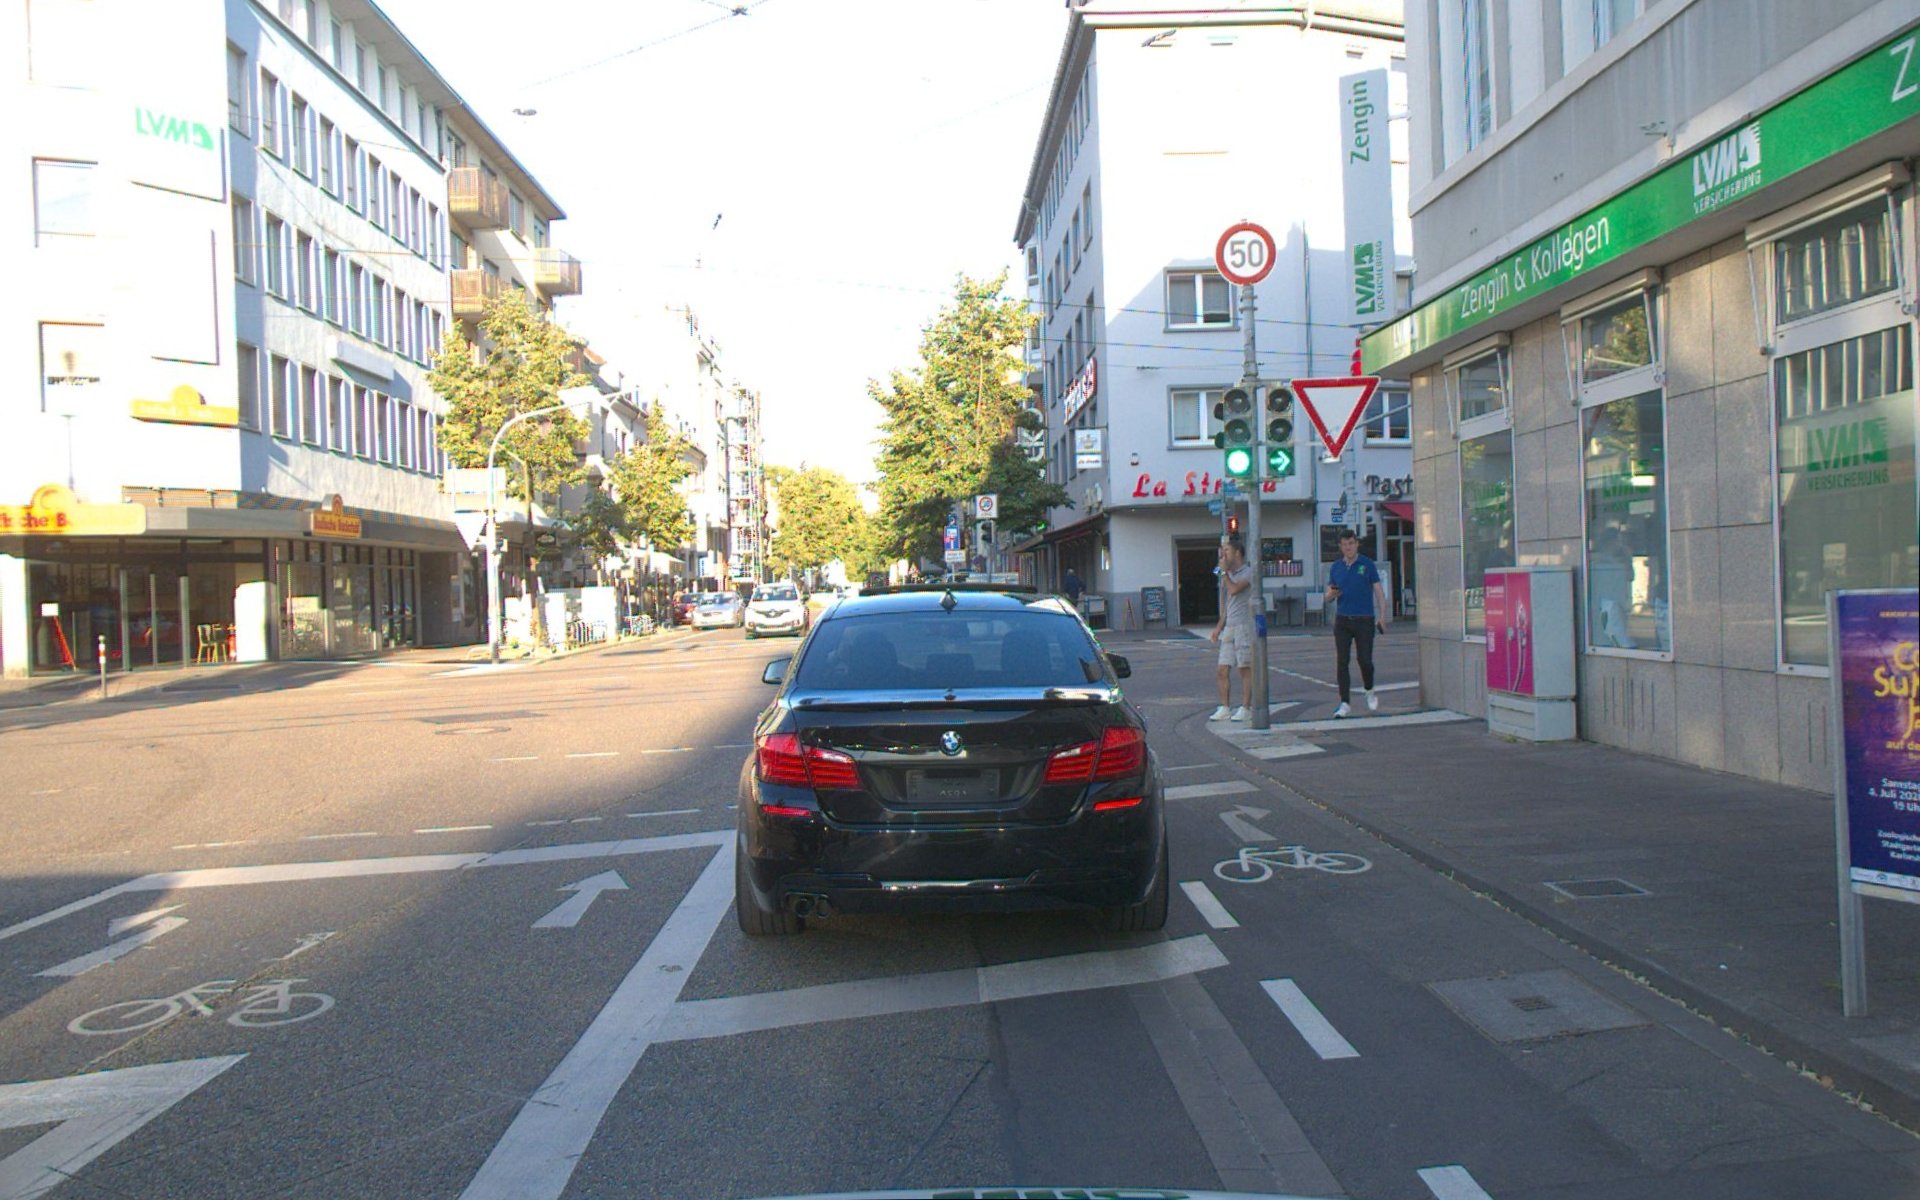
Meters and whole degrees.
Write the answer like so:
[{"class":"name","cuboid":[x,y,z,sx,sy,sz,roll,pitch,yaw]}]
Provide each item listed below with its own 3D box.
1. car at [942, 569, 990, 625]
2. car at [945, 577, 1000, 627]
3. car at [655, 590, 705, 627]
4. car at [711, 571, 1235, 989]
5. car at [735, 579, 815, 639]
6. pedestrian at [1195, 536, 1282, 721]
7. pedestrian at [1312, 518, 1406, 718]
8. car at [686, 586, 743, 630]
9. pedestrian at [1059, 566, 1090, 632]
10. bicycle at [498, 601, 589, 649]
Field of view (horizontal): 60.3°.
[{"class":"car","cuboid":[0.232,-0.139,58.968,1.606,1.906,3.607,1,1,1]},{"class":"car","cuboid":[0.405,0.041,52.302,1.606,1.469,3.607,-2,0,1]},{"class":"car","cuboid":[-12.940,0.404,76.560,1.798,1.583,3.777,-3,0,-4]},{"class":"car","cuboid":[0.022,0.645,8.299,1.914,1.524,4.464,0,0,-1]},{"class":"car","cuboid":[-5.410,0.252,48.876,2.066,1.583,4.010,-3,0,-4]},{"class":"pedestrian","cuboid":[2.751,0.272,16.398,0.639,1.773,0.693,-2,0,-6]},{"class":"pedestrian","cuboid":[3.874,0.166,16.108,0.676,1.859,0.881,-3,0,4]},{"class":"car","cuboid":[-9.487,0.279,64.130,1.798,1.583,3.777,-2,0,-4]},{"class":"pedestrian","cuboid":[3.035,-0.041,43.723,0.697,1.705,0.703,-2,0,-3]},{"class":"bicycle","cuboid":[-11.273,0.675,44.810,2.321,1.275,0.639,0,0,-7]}]
